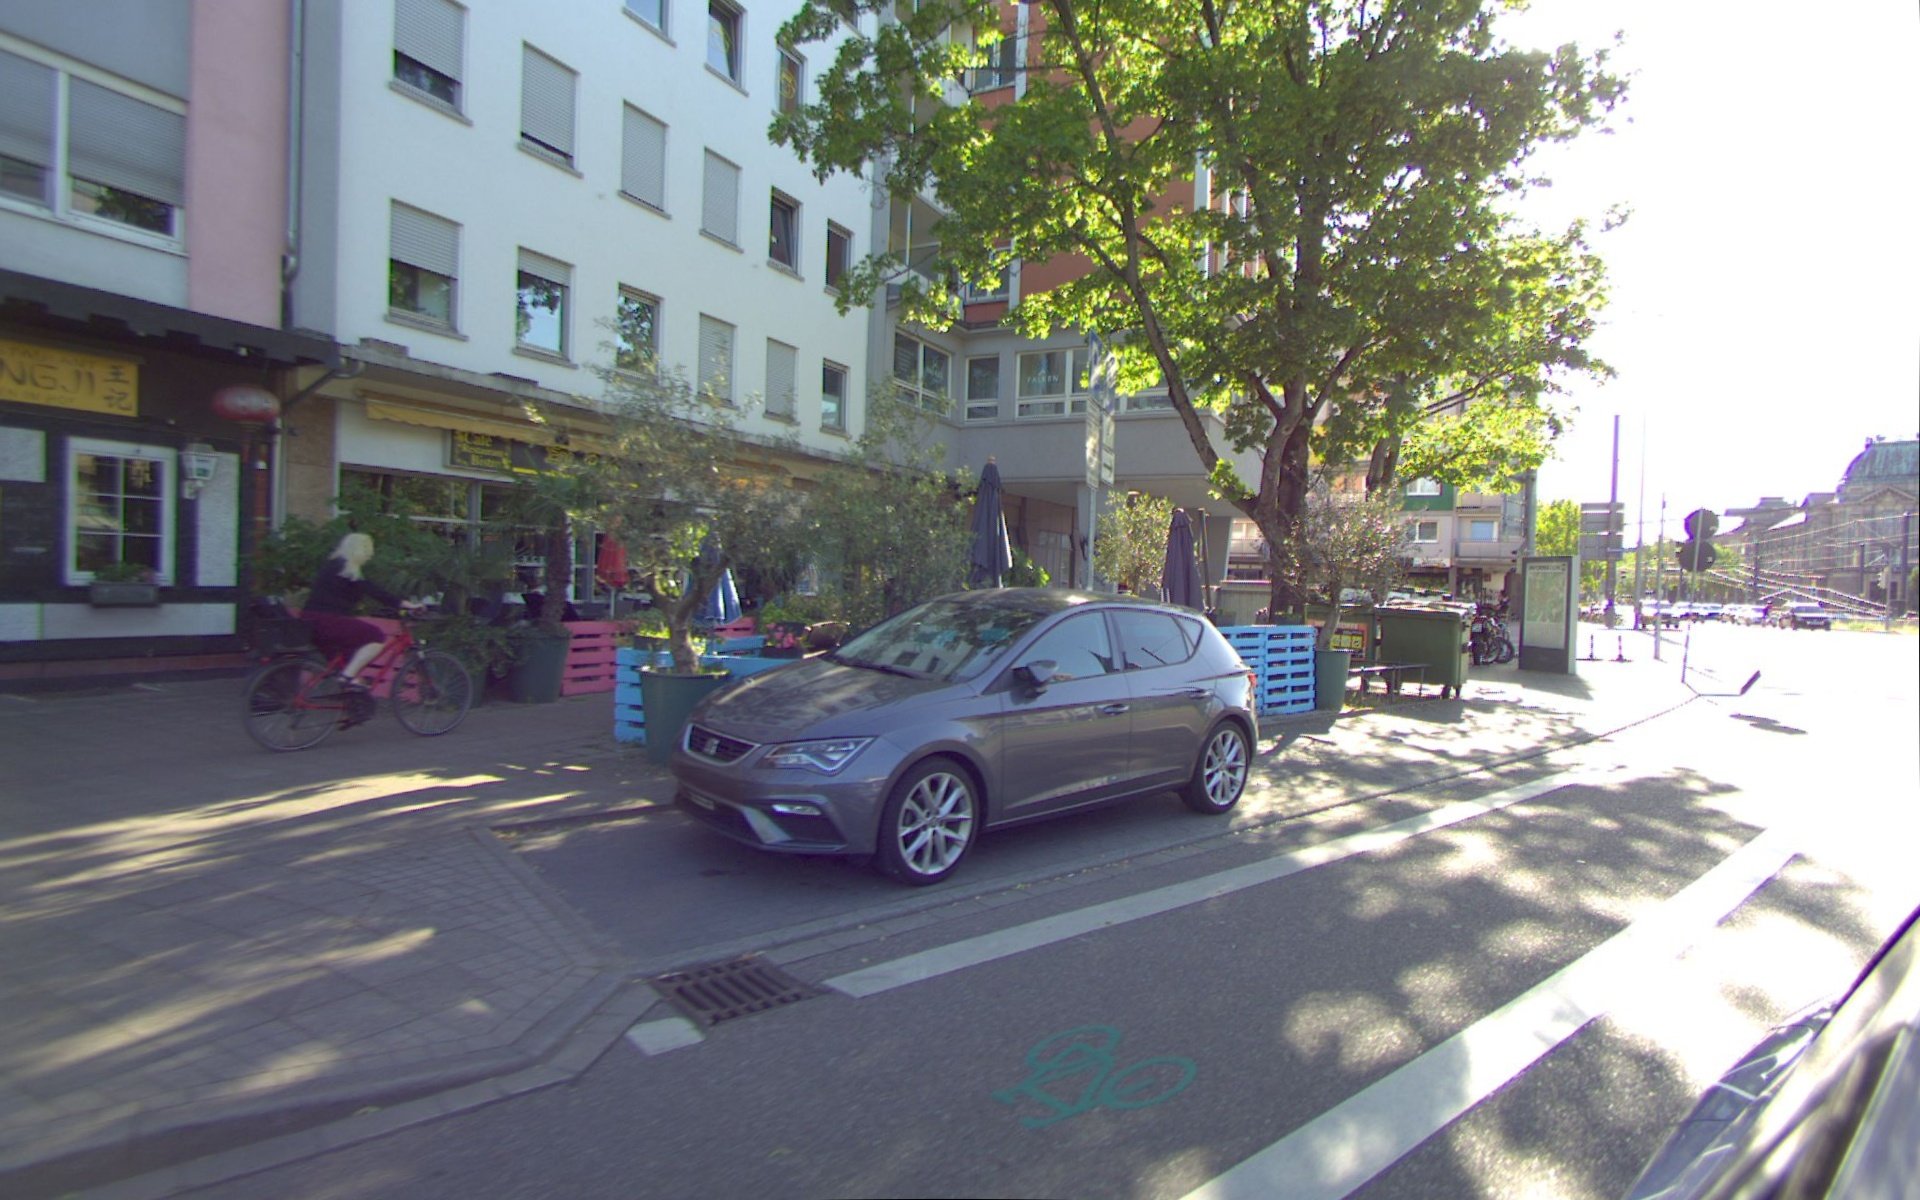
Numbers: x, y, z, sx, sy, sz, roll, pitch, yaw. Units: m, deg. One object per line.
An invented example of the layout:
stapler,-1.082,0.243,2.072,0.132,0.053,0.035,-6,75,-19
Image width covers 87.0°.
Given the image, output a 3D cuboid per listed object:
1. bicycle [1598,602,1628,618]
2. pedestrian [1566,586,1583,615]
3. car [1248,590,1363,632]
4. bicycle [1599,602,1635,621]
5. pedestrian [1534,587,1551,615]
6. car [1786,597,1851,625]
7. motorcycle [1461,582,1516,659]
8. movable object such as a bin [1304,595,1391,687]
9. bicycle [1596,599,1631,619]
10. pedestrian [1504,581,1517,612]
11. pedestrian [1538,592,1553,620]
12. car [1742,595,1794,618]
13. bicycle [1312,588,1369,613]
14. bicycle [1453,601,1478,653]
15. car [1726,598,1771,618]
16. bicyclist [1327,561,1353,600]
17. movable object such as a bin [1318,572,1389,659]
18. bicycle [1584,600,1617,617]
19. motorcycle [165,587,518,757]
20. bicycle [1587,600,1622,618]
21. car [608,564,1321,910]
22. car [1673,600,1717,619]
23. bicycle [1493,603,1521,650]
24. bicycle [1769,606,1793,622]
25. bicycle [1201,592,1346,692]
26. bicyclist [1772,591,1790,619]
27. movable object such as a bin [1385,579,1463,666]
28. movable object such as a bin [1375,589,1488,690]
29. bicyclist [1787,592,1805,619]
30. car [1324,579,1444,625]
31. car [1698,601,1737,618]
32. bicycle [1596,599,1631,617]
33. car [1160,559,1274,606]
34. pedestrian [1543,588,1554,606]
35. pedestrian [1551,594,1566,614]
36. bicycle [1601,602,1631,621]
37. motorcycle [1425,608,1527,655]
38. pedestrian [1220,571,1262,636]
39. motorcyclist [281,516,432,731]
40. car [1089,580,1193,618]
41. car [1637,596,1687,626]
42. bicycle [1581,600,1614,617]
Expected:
bicycle,39.857,0.591,61.768,1.533,0.978,0.383,0,0,28
pedestrian,38.502,0.038,63.402,0.784,1.799,0.867,1,0,27
car,13.635,0.399,39.954,4.121,1.521,1.830,0,2,26
bicycle,39.167,0.659,60.366,1.687,1.023,0.407,3,2,25
pedestrian,38.659,0.072,67.139,0.858,1.858,1.200,1,1,27
car,51.251,0.608,60.511,1.980,1.556,4.316,0,1,27
motorcycle,11.334,0.403,21.663,0.799,1.559,2.514,0,0,33
movable object such as a bin,6.076,0.615,15.863,1.165,1.373,0.918,0,0,29
bicycle,39.639,0.545,61.400,1.738,1.113,0.396,2,2,26
pedestrian,32.400,-0.233,59.522,0.565,1.795,0.656,1,0,35
pedestrian,40.152,0.422,69.350,0.786,1.909,0.864,1,1,34
car,55.616,0.423,69.718,1.981,1.447,4.094,0,1,27
bicycle,15.673,0.023,41.717,2.127,1.013,0.853,0,1,26
bicycle,13.014,0.668,26.090,0.528,1.259,1.831,0,1,25
car,59.687,0.571,76.665,1.874,1.447,4.094,0,0,27
bicyclist,15.655,-0.801,41.730,0.926,1.580,0.933,0,0,26
movable object such as a bin,8.154,0.290,20.937,1.248,1.730,0.936,2,2,27
bicycle,42.435,0.581,67.043,1.803,1.073,0.412,2,1,24
motorcycle,-4.783,0.476,7.997,0.775,1.140,2.263,0,1,42
bicycle,41.624,0.575,65.352,1.804,1.082,0.412,3,3,24
car,0.305,0.587,6.497,4.502,1.456,1.769,1,2,-41
car,56.303,0.700,77.580,1.969,1.308,4.352,2,1,27
bicycle,14.120,0.665,26.153,0.472,1.131,2.103,0,1,24
bicycle,52.858,0.877,65.155,0.623,0.951,1.892,0,1,22
bicycle,4.373,0.545,14.322,0.880,1.266,2.174,1,1,-16
bicyclist,52.845,0.324,65.136,0.696,1.751,0.848,0,0,22
movable object such as a bin,9.280,0.413,20.237,1.372,1.660,0.999,1,1,27
movable object such as a bin,6.967,0.543,14.971,0.907,1.409,1.281,-1,1,-44
bicyclist,53.531,0.363,64.777,0.688,1.680,0.911,0,0,27
car,17.937,0.063,42.824,4.558,1.873,1.928,0,1,28
car,62.252,0.779,83.195,1.842,1.308,4.057,2,1,27
bicycle,39.406,0.468,61.052,1.739,1.090,0.402,0,0,26
car,13.245,-0.917,52.297,5.215,2.226,2.350,3,1,32
pedestrian,55.934,-0.280,96.131,0.770,1.671,0.662,2,1,39
pedestrian,59.092,0.382,99.983,0.853,1.907,1.219,1,1,11
bicycle,38.561,0.662,59.495,1.421,1.023,0.406,3,2,30
motorcycle,12.045,0.715,23.667,2.084,1.034,0.754,1,0,29
pedestrian,8.256,0.087,29.747,0.876,1.867,0.827,-1,0,-40
motorcyclist,-4.767,0.161,7.992,0.897,1.570,0.794,0,0,42
car,7.679,-0.080,42.963,4.122,1.444,1.563,1,3,26
car,42.643,0.611,61.532,1.884,1.708,4.080,2,1,26
bicycle,42.726,0.550,67.814,1.804,1.073,0.412,2,1,24
